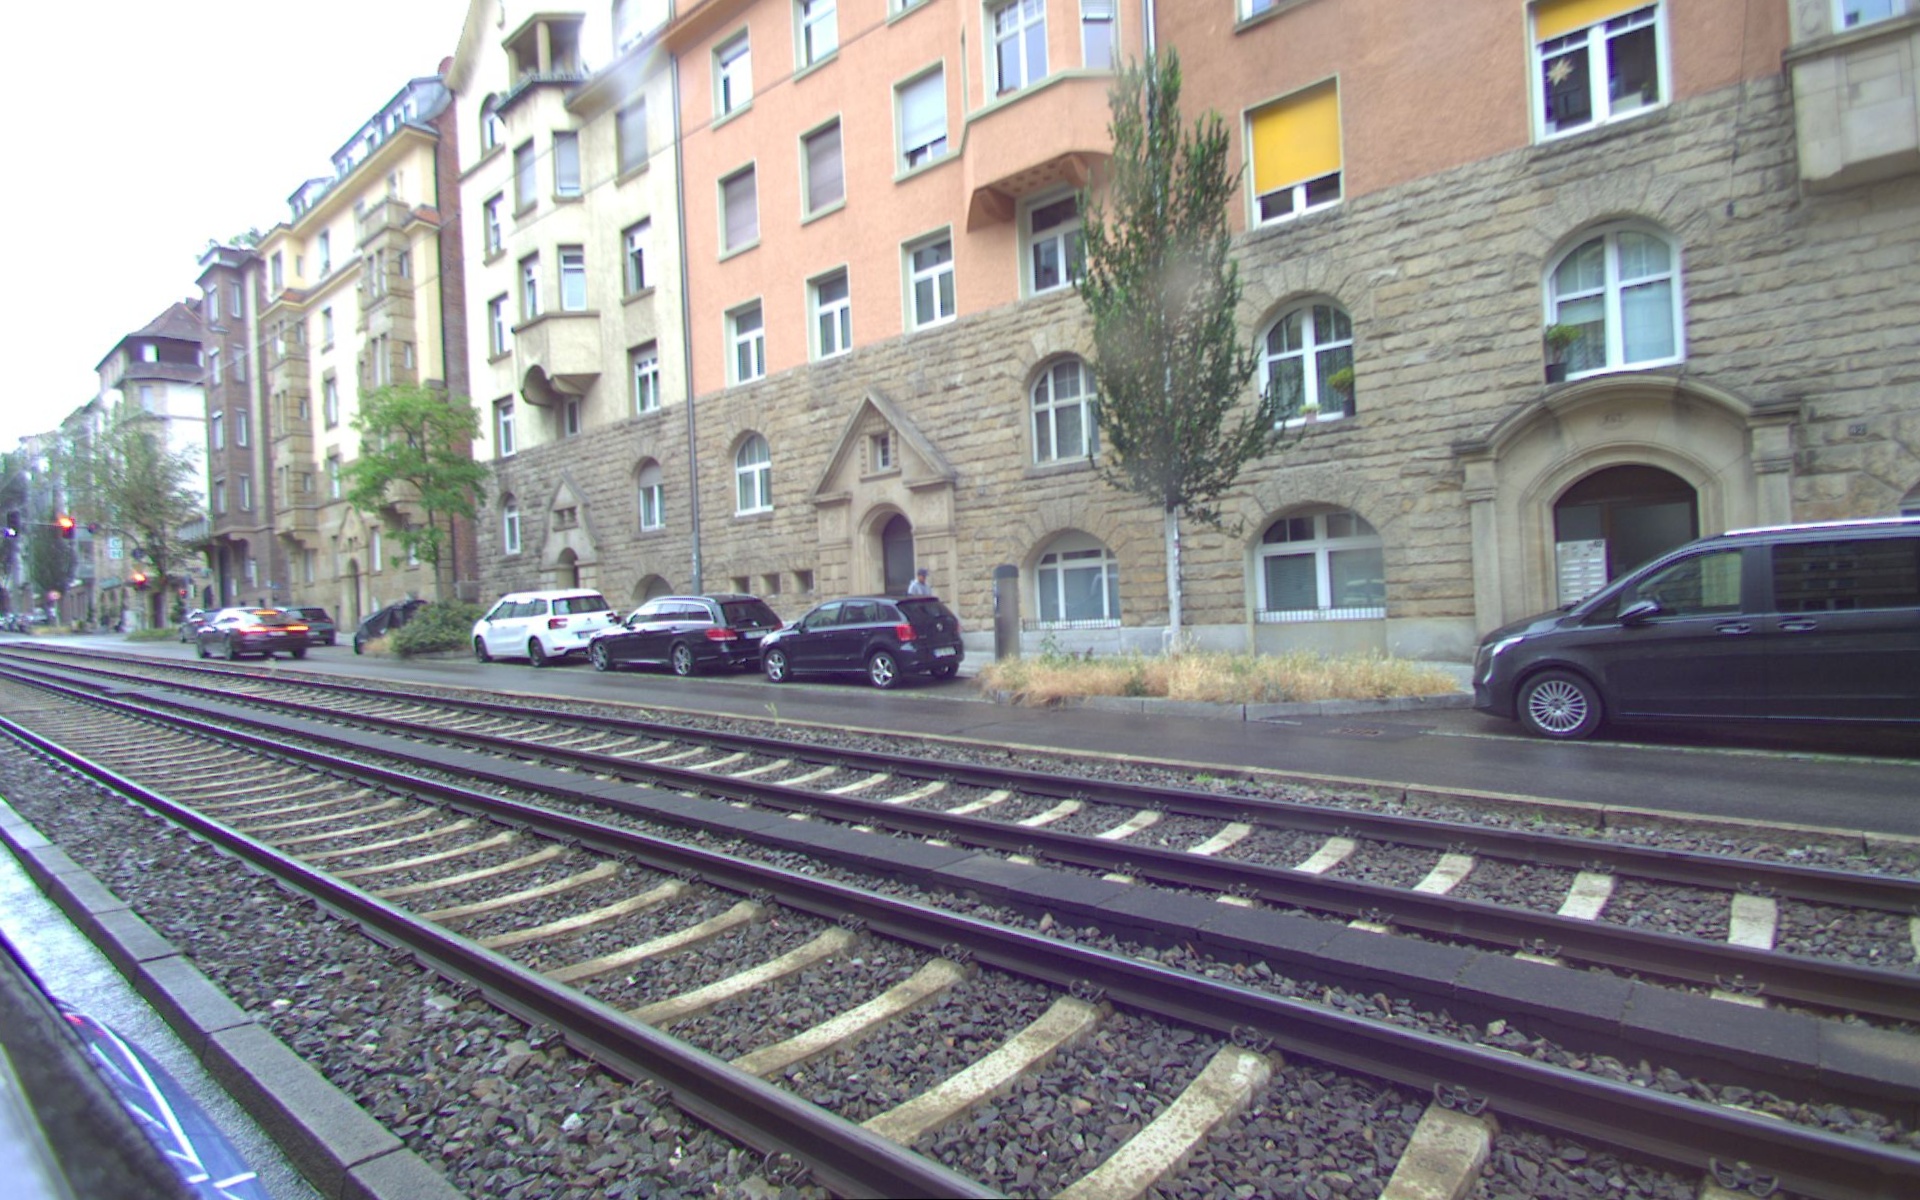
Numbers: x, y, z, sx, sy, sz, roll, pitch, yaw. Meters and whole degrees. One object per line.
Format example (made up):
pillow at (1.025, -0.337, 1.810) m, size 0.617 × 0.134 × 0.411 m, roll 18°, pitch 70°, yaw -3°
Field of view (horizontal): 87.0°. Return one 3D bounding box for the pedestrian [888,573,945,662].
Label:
pedestrian at (-0.840, 0.327, 19.492) m, size 0.765 × 1.654 × 0.692 m, roll -1°, pitch 3°, yaw 41°

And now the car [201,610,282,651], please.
car at (-28.274, 1.188, 39.770) m, size 4.030 × 1.452 × 1.748 m, roll -1°, pitch 1°, yaw 42°

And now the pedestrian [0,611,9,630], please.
pedestrian at (-99.259, 2.125, 104.572) m, size 1.379 × 1.972 × 1.362 m, roll -1°, pitch 0°, yaw 43°

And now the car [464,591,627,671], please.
car at (-9.735, 0.684, 23.617) m, size 4.144 × 1.668 × 1.843 m, roll -1°, pitch 0°, yaw 41°

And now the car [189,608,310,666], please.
car at (-20.908, 1.049, 29.691) m, size 4.962 × 1.535 × 1.784 m, roll -1°, pitch 0°, yaw 41°

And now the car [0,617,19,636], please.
car at (-80.902, 2.250, 85.425) m, size 3.843 × 1.527 × 1.748 m, roll -1°, pitch 0°, yaw 41°

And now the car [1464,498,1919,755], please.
car at (7.355, 0.202, 8.986) m, size 4.823 × 1.956 × 1.973 m, roll -1°, pitch 0°, yaw 41°

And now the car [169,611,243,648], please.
car at (-32.132, 1.241, 43.093) m, size 3.843 × 1.452 × 1.748 m, roll -1°, pitch 0°, yaw 41°

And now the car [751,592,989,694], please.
car at (-1.547, 0.653, 16.921) m, size 3.638 × 1.508 × 1.912 m, roll -1°, pitch 0°, yaw 38°

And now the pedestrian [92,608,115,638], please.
pedestrian at (-58.239, 1.578, 68.823) m, size 1.163 × 1.972 × 1.042 m, roll -1°, pitch 0°, yaw 43°

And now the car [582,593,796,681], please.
car at (-5.428, 0.680, 19.943) m, size 4.599 × 1.506 × 1.824 m, roll -1°, pitch 0°, yaw 41°

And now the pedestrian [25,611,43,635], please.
pedestrian at (-78.634, 1.960, 85.930) m, size 1.163 × 1.972 × 1.042 m, roll -1°, pitch 0°, yaw 43°

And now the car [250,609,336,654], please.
car at (-23.672, 1.074, 35.867) m, size 3.845 × 1.452 × 1.656 m, roll -1°, pitch 1°, yaw 43°

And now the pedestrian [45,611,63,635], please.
pedestrian at (-77.801, 1.949, 86.907) m, size 1.163 × 1.972 × 1.042 m, roll -1°, pitch 0°, yaw 43°

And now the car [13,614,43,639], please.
car at (-69.027, 1.957, 74.985) m, size 1.561 × 1.691 × 3.794 m, roll -2°, pitch 2°, yaw -43°
